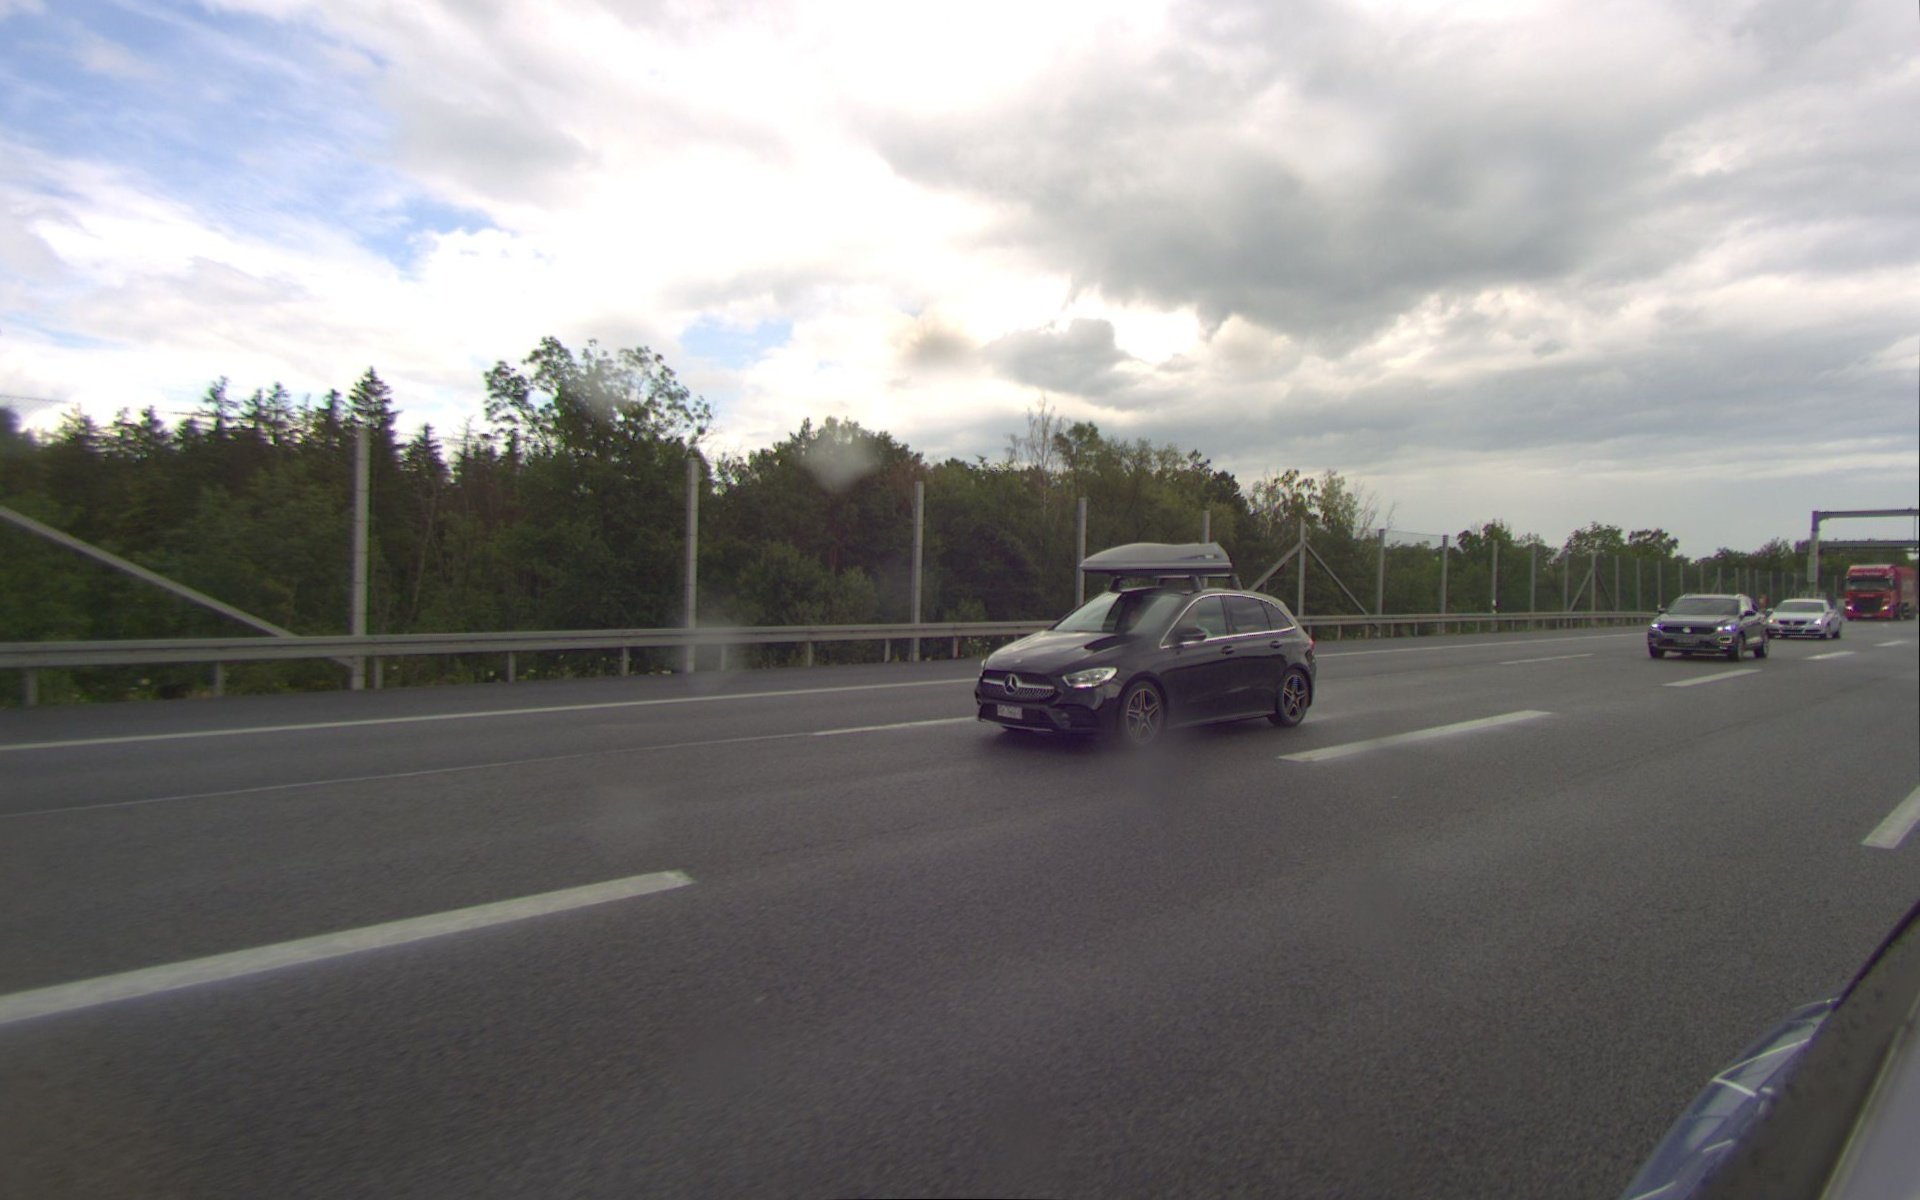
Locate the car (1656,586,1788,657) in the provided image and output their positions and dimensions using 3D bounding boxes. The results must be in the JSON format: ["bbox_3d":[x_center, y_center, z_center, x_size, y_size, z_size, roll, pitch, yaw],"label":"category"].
[{"bbox_3d":[18.370,0.467,24.362,3.656,1.582,1.796,0,0,-40],"label":"car"}]

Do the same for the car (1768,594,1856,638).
[{"bbox_3d":[31.303,0.531,37.146,4.173,1.465,1.896,-1,1,-42],"label":"car"}]

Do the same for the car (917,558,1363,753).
[{"bbox_3d":[2.129,0.472,10.897,4.977,1.626,2.108,1,0,-42],"label":"car"}]

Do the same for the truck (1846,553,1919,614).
[{"bbox_3d":[68.801,-1.068,74.461,15.358,4.054,3.159,1,0,-40],"label":"truck"}]
